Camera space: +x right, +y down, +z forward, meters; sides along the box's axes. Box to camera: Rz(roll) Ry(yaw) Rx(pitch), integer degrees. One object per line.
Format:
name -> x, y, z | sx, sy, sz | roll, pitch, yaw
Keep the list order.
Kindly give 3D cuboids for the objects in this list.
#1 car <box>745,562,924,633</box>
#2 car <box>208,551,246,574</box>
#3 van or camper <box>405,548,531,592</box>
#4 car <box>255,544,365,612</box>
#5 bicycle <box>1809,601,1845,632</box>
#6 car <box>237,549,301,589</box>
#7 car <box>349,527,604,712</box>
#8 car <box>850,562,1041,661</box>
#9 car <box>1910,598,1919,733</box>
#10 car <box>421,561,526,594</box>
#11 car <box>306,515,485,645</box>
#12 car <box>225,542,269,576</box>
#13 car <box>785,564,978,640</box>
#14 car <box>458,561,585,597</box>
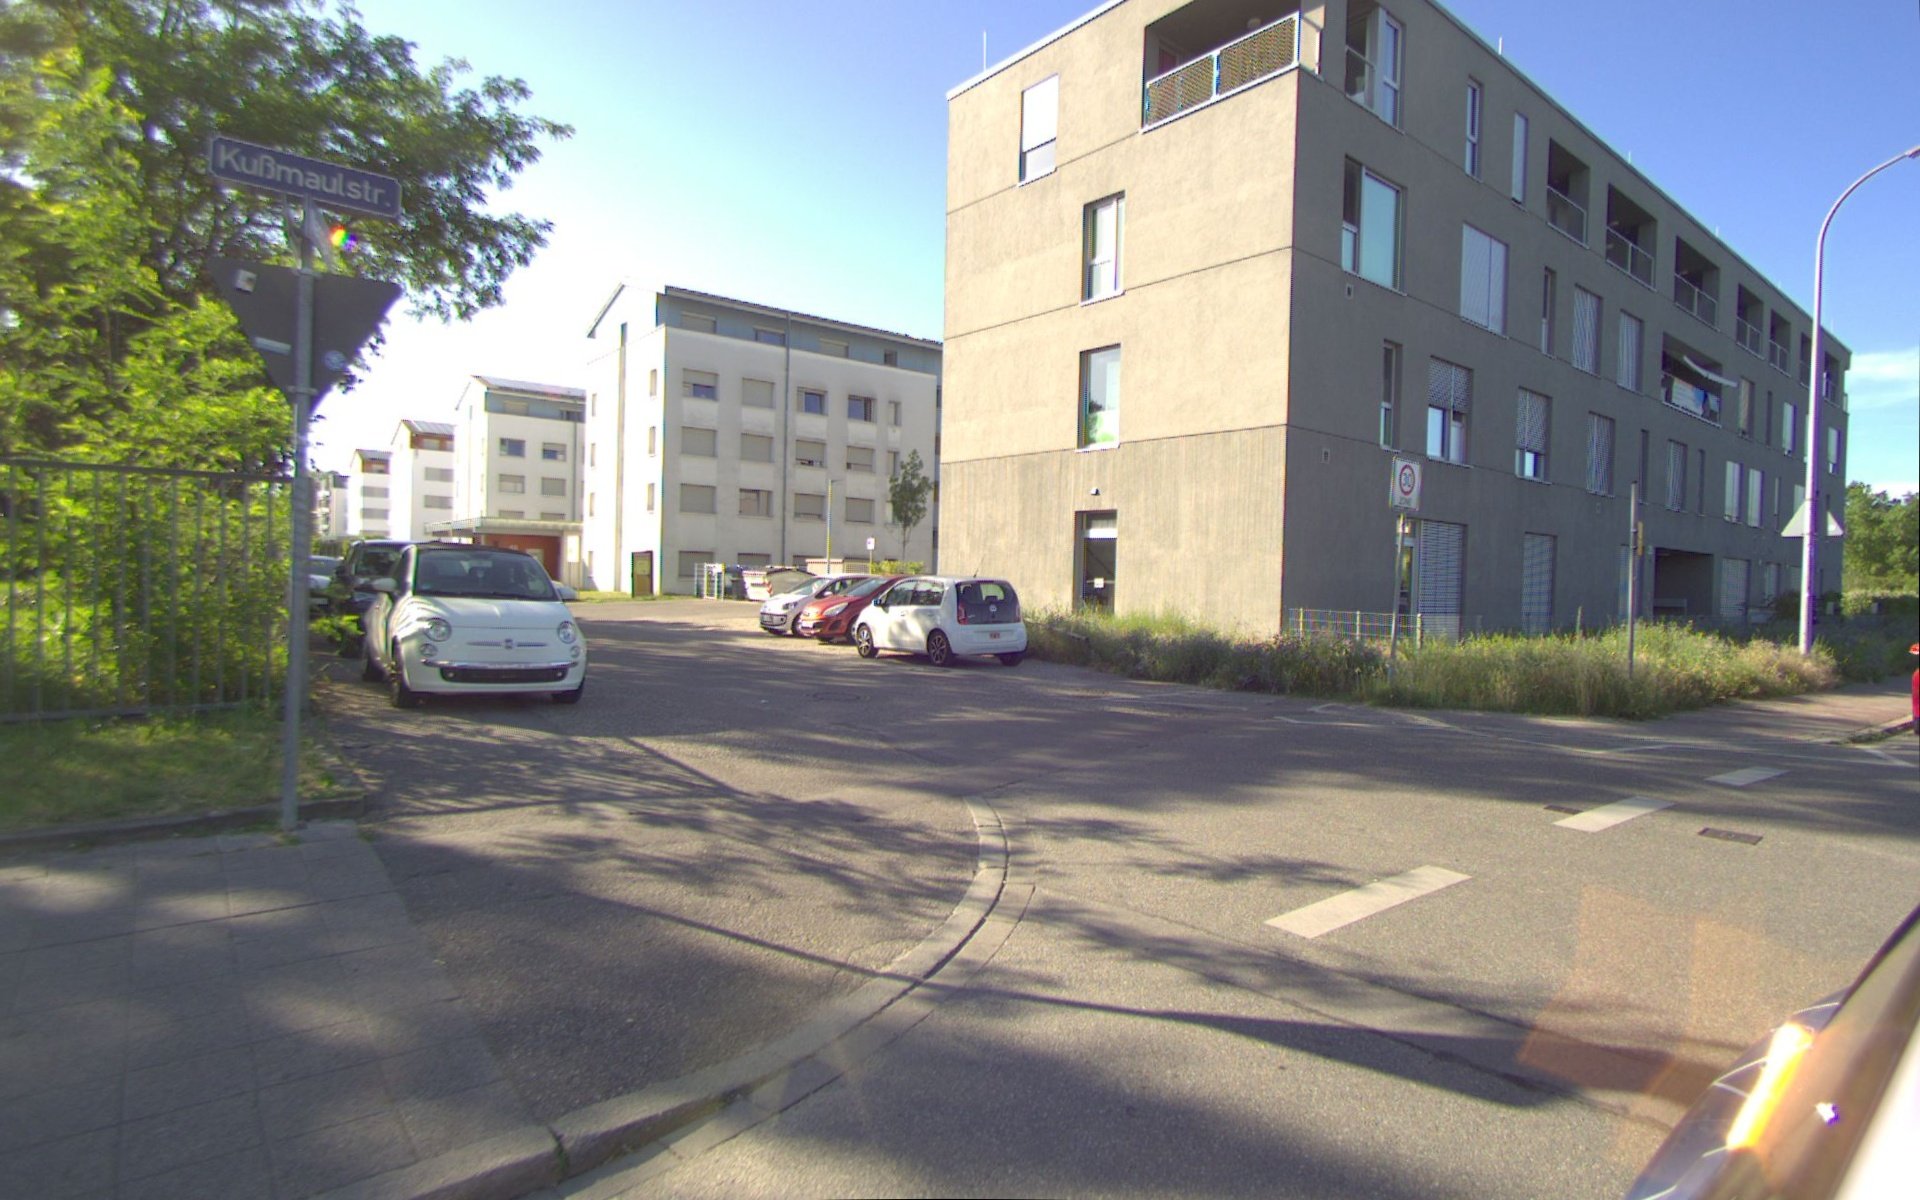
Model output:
car -> -2.969, -0.074, 24.250 | 3.928, 1.539, 1.697 | 1, 2, -39
car -> -50.066, -2.582, 69.095 | 1.951, 1.455, 3.998 | 1, 2, -38
van or camper -> -23.817, -1.422, 49.038 | 5.197, 1.982, 2.000 | 1, 2, -37
car -> -15.317, -0.542, 23.769 | 1.681, 1.455, 3.996 | 0, 2, -40
bicycle -> 31.859, 0.598, 37.183 | 1.807, 1.074, 0.554 | 0, 1, -35
car -> -27.060, -1.224, 39.586 | 1.681, 1.455, 3.996 | 0, 2, -40
car -> -4.951, 0.090, 10.114 | 1.571, 1.504, 3.557 | 1, 2, -38
car -> -0.335, 0.128, 17.196 | 1.681, 1.476, 3.339 | 1, 2, -34
car -> 13.067, 0.772, 12.217 | 4.373, 1.518, 1.823 | 0, 1, -40
car -> -22.063, -1.008, 45.973 | 4.014, 1.366, 1.761 | 1, 2, -39
car -> -8.505, -0.337, 15.073 | 1.723, 1.657, 4.164 | 1, 2, -38
car -> -37.142, -2.127, 52.673 | 1.680, 1.689, 3.998 | 1, 2, -38
car -> -1.659, 0.024, 22.202 | 3.928, 1.488, 1.697 | 1, 2, -39
car -> -18.378, -0.857, 42.518 | 4.518, 1.366, 1.998 | 1, 2, -39
